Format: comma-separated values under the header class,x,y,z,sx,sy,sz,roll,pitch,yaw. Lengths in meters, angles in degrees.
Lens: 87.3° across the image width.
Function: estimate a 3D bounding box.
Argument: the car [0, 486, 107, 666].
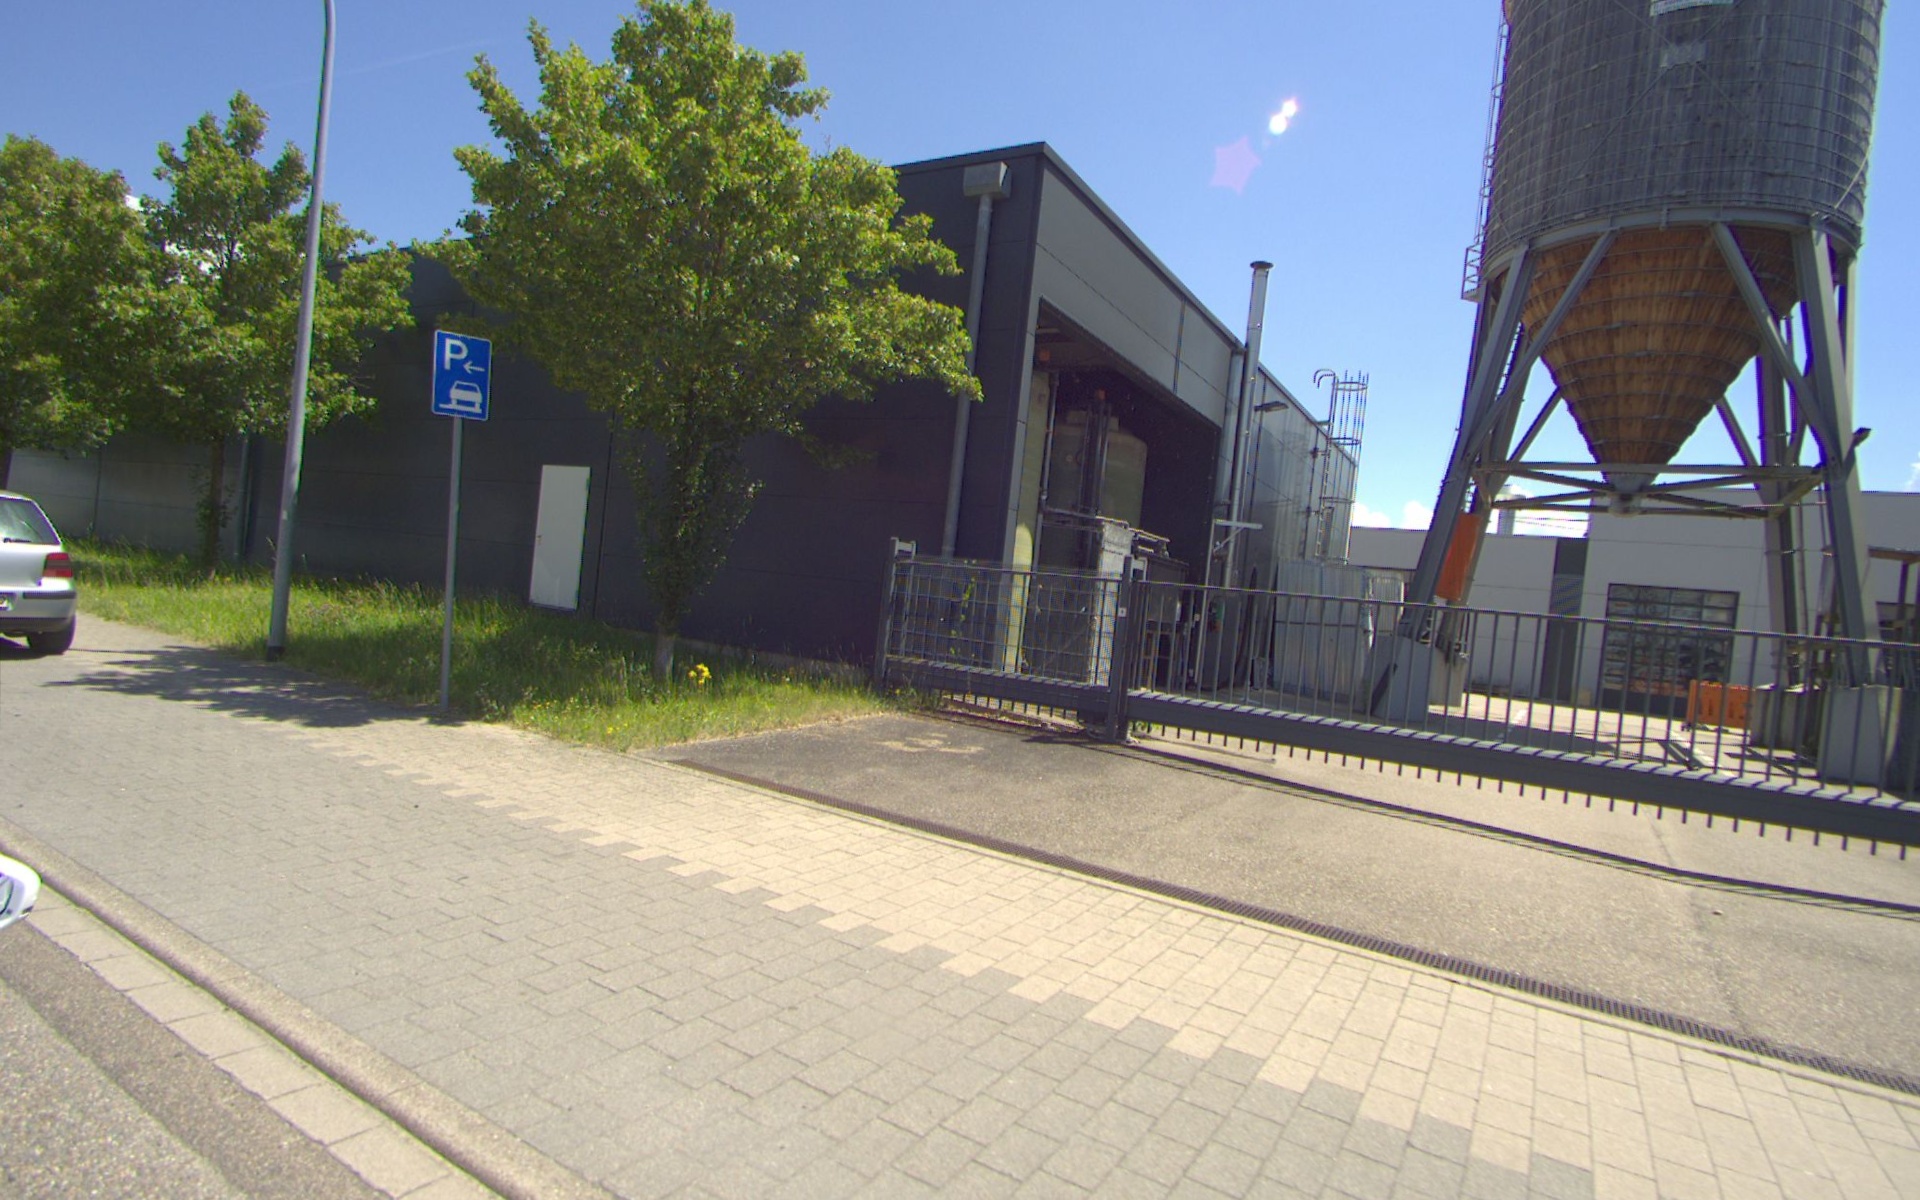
class,x,y,z,sx,sy,sz,roll,pitch,yaw
car,-9.460,-0.365,8.993,3.586,1.468,1.719,6,1,32
